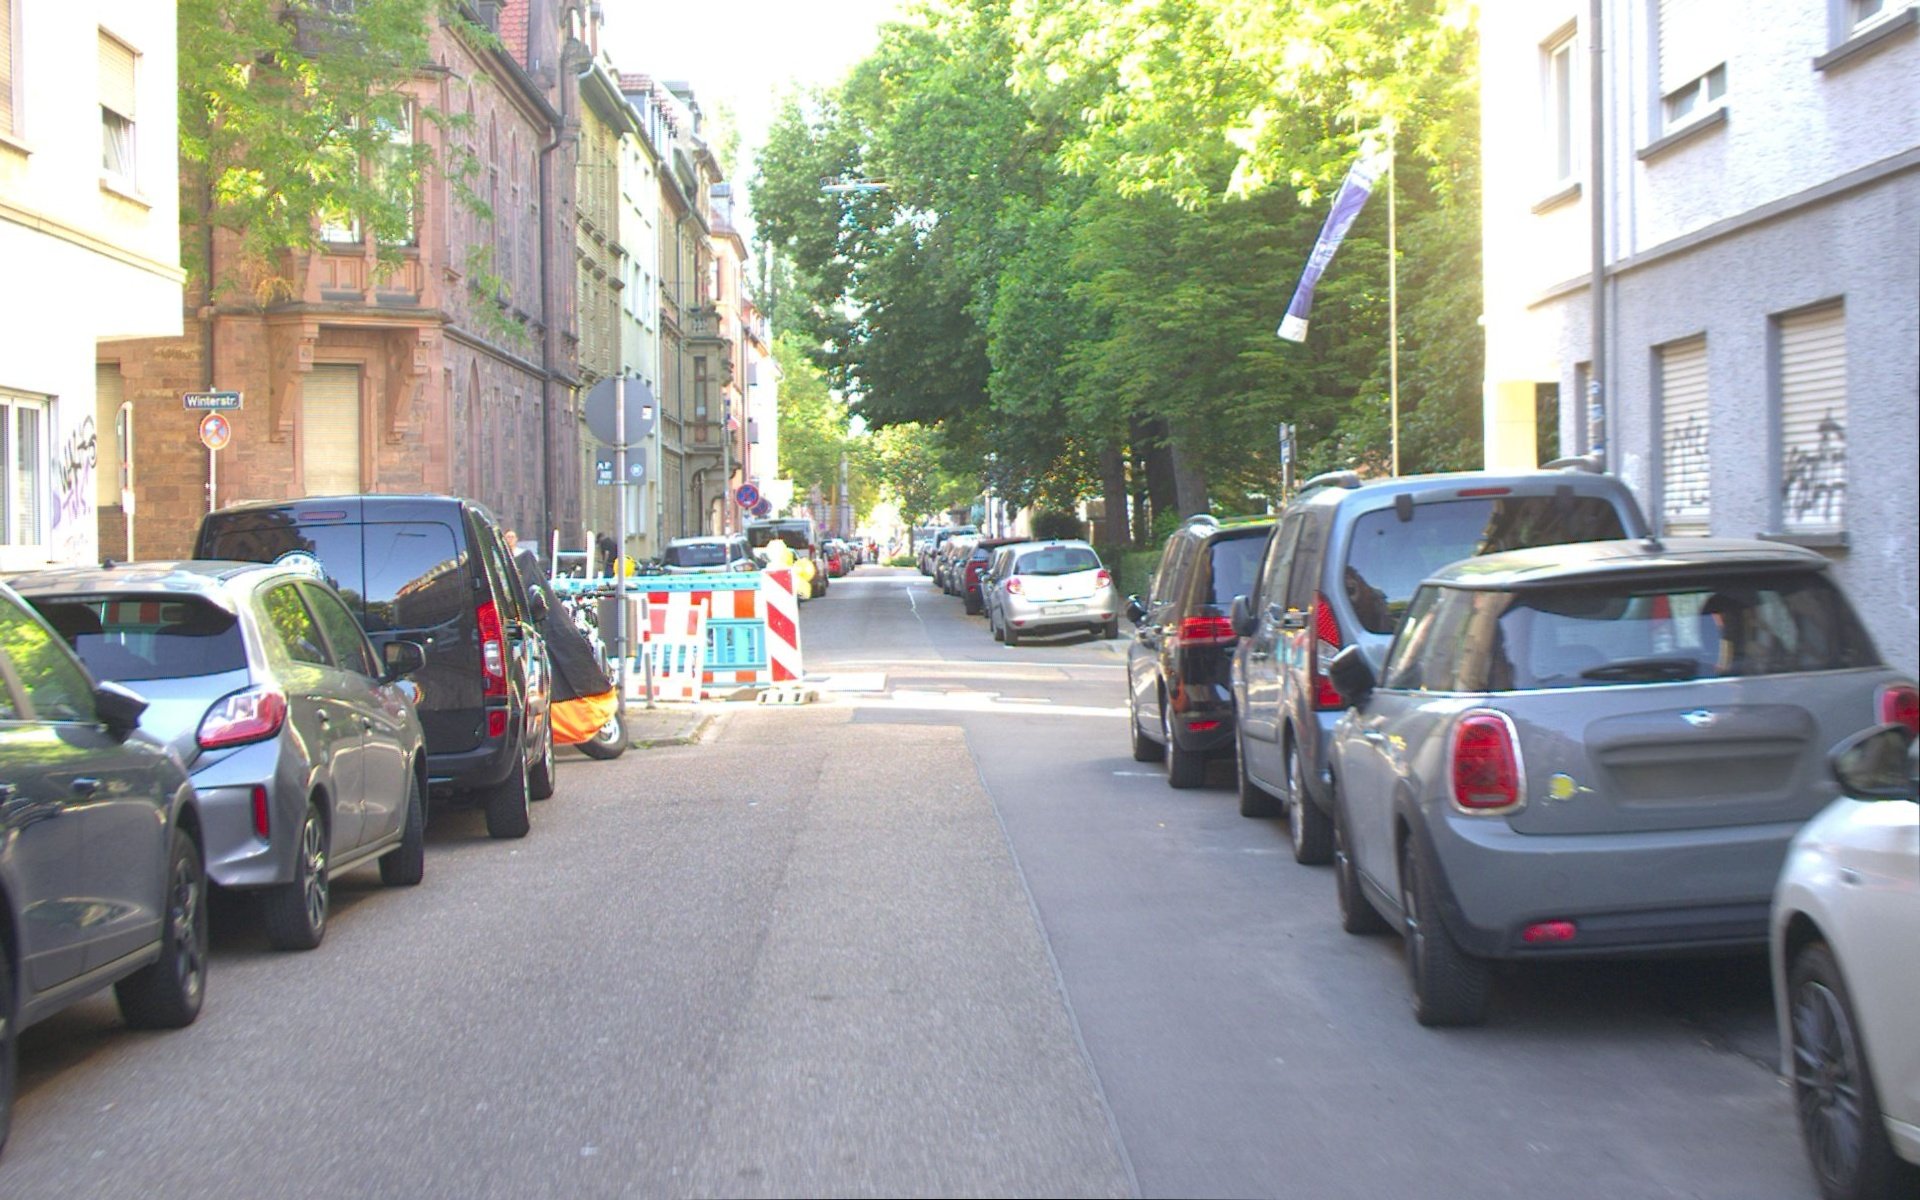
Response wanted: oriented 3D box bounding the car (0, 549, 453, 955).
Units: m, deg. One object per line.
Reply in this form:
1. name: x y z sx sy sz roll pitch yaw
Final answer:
1. car: -3.177 0.523 14.231 1.677 1.444 3.645 0 1 -1

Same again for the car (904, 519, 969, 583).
1. car: -0.858 -1.752 123.224 2.160 2.248 4.526 -1 1 -2

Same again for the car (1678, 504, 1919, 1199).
1. car: 2.761 0.552 6.184 1.753 1.513 4.444 -5 2 -2

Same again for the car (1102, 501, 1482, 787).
1. car: 2.022 0.227 22.171 1.900 1.634 4.391 -1 1 -1

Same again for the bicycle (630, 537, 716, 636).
1. bicycle: -4.020 -0.203 48.049 0.682 1.340 2.503 -1 1 -16

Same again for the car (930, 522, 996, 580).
1. car: 0.063 -1.505 103.956 1.829 1.698 4.001 -1 1 -2

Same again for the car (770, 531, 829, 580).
1. car: -5.405 -1.503 116.331 1.902 1.568 4.000 -1 1 -2

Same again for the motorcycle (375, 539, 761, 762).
1. motorcycle: -2.735 0.319 24.065 2.512 1.477 0.904 -1 1 -28

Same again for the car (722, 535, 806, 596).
1. car: -4.443 -0.803 78.387 1.771 1.349 4.000 -1 1 -2

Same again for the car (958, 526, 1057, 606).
1. car: 0.976 -0.726 72.876 1.894 1.619 4.000 -1 1 -2

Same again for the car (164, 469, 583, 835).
1. car: -3.103 0.211 18.976 1.818 1.760 4.336 -1 1 -4

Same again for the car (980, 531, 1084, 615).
1. car: 1.391 -0.553 68.051 1.841 1.590 4.000 -1 1 -2

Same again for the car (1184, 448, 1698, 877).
1. car: 2.270 0.212 17.455 1.753 1.780 4.724 -4 2 -1

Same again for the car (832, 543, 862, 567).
1. car: -7.979 -3.168 242.920 1.993 1.641 4.000 -1 1 -1

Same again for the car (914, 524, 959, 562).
1. car: -1.101 -2.692 160.776 1.993 1.722 4.000 -1 1 -1

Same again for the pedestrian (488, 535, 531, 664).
1. pedestrian: -6.100 -0.010 46.590 0.524 1.734 0.558 -1 1 -5

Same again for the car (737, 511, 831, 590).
1. car: -4.869 -1.374 95.691 2.309 2.107 5.170 -1 1 0

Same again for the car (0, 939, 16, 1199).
1. car: -2.989 0.286 4.007 2.175 2.499 5.879 -3 1 -1

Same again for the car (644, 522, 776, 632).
1. car: -4.152 -0.398 57.658 1.882 1.701 4.000 -2 1 0

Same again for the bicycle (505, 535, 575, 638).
1. bicycle: -5.931 -0.210 48.691 0.682 1.418 2.798 -1 1 -1

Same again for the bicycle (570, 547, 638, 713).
1. bicycle: -2.802 0.219 27.140 0.399 1.223 1.505 -1 3 -2

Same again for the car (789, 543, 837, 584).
1. car: -6.246 -1.555 145.886 1.950 1.703 4.000 -1 1 -3

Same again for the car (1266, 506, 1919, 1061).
1. car: 2.184 0.472 12.067 1.754 1.448 4.288 -5 2 1

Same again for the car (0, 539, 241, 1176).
1. car: -3.404 0.634 9.655 1.993 1.546 4.001 -1 1 -2

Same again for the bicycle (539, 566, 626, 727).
1. bicycle: -2.809 0.326 25.693 0.425 1.136 1.666 2 1 0

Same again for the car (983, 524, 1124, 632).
1. car: 1.368 -0.364 51.683 1.723 1.517 4.001 -1 1 -4
